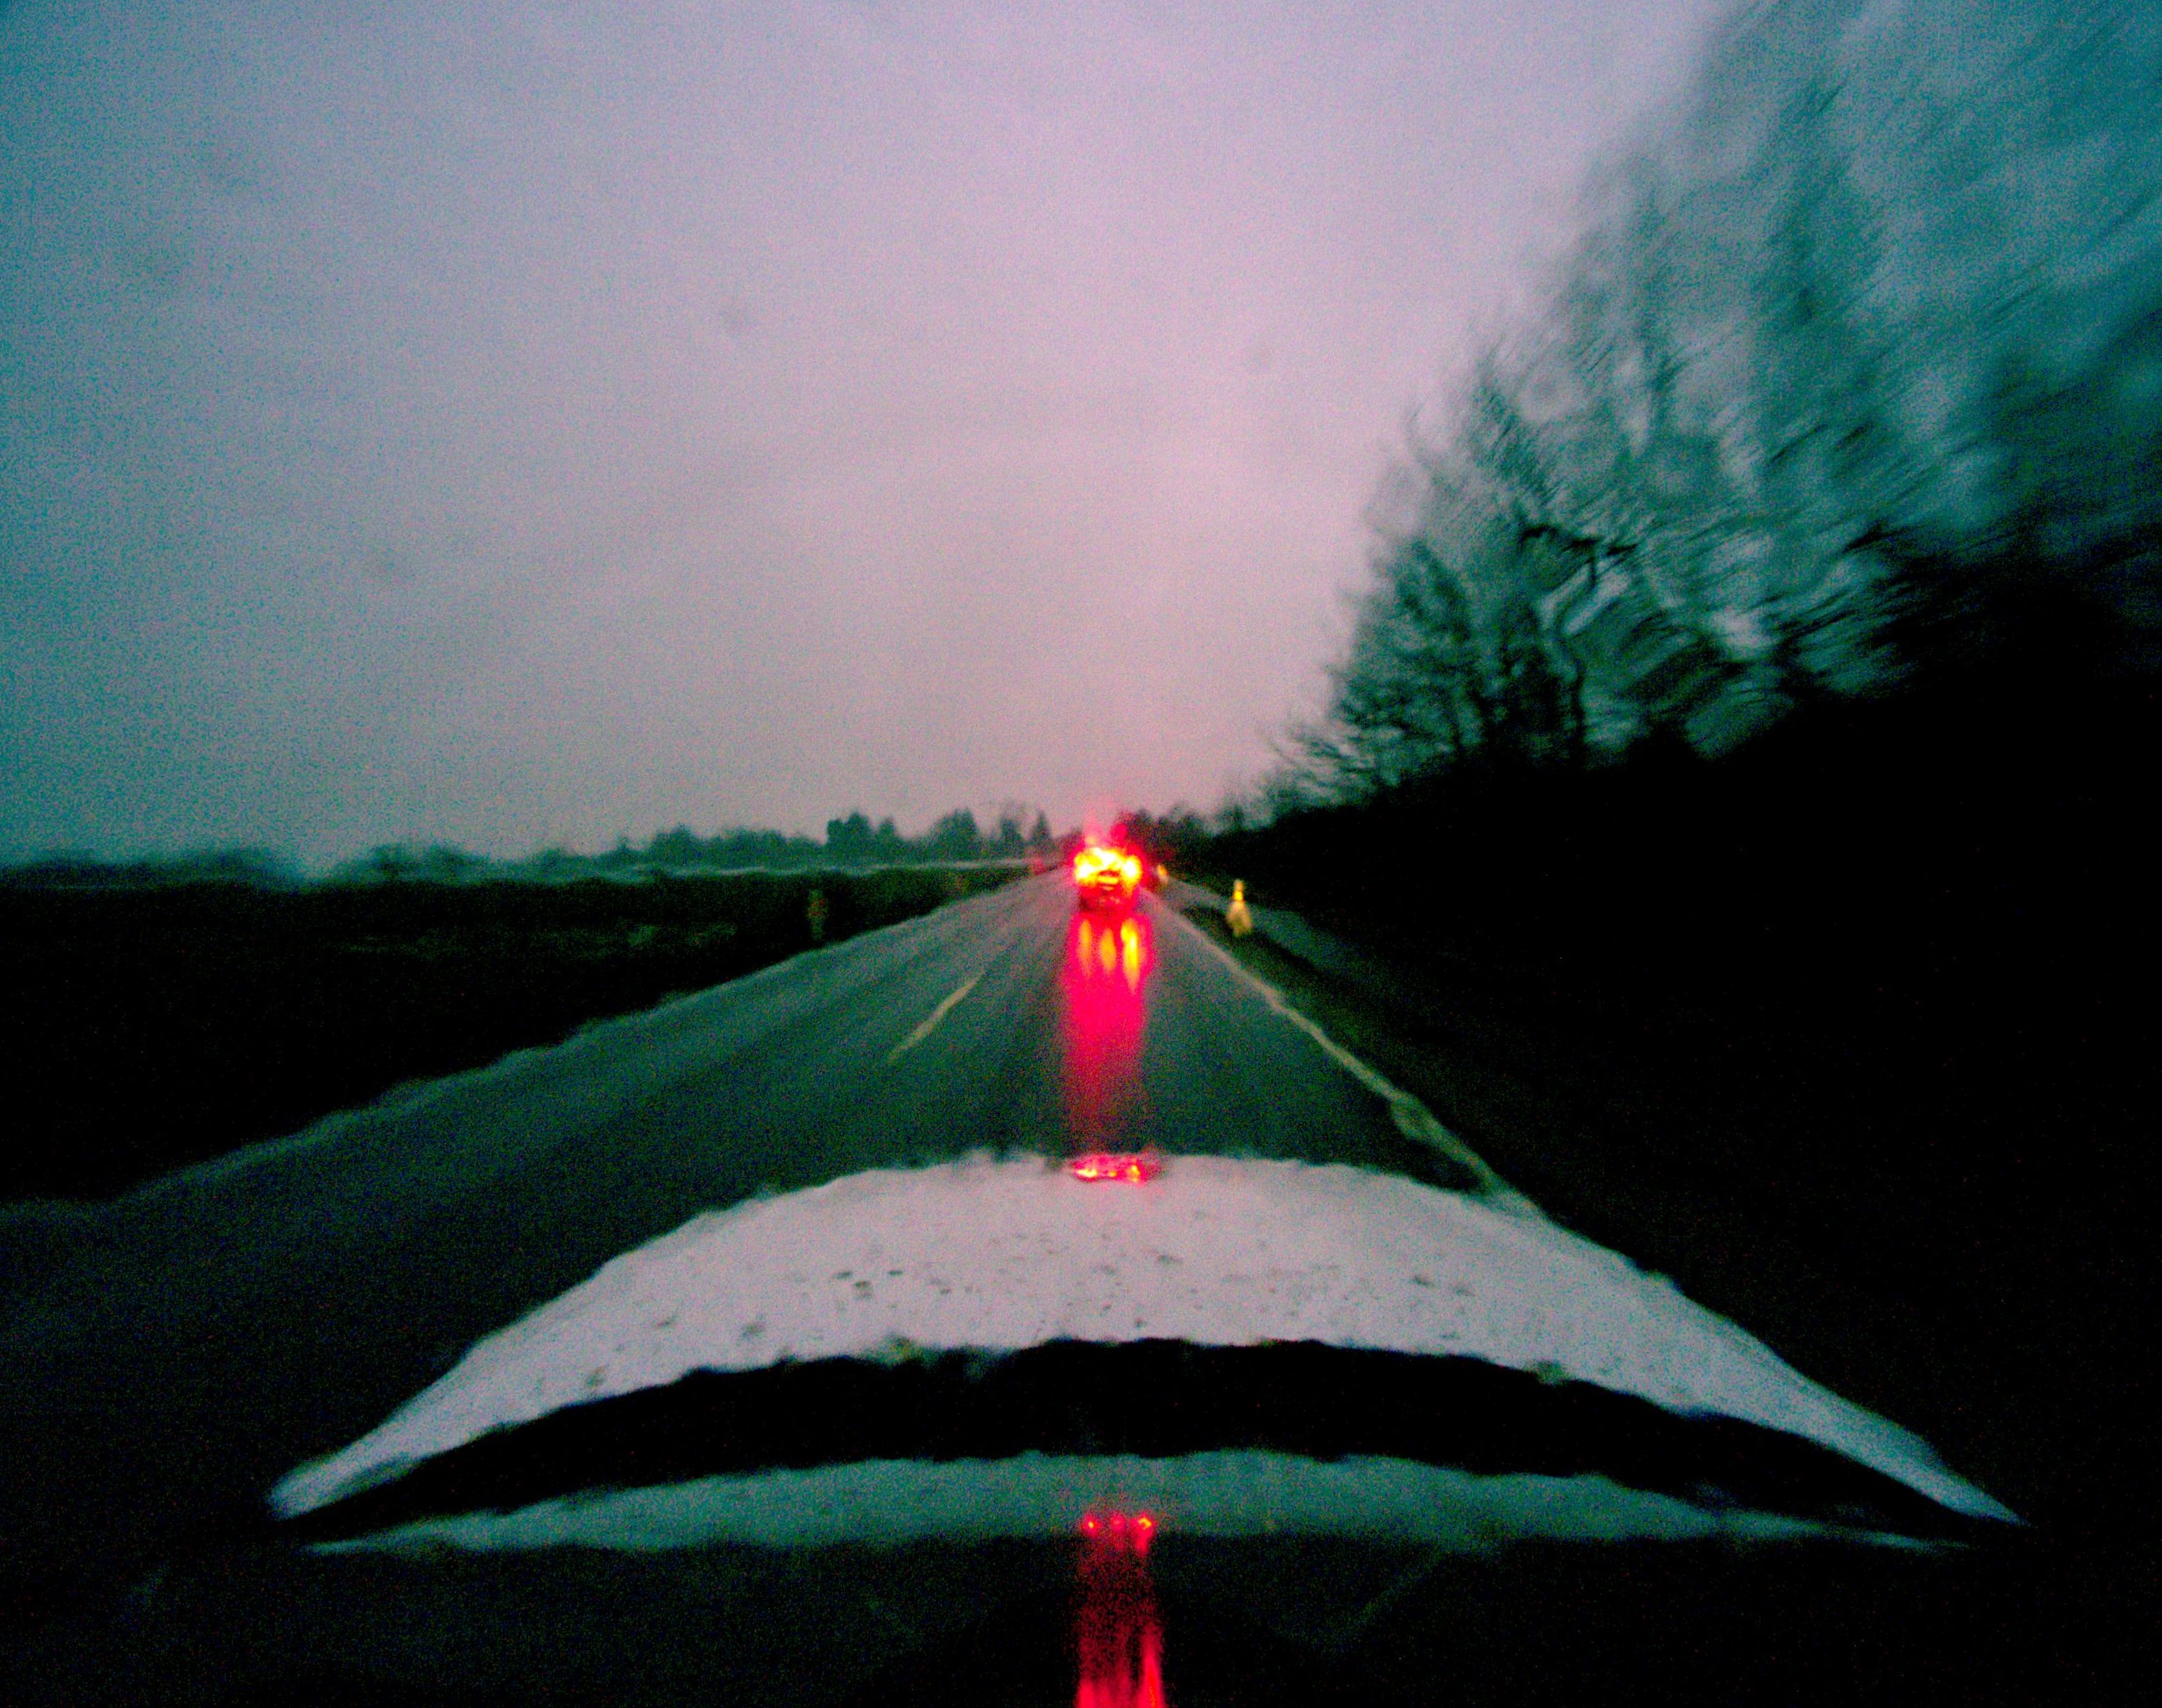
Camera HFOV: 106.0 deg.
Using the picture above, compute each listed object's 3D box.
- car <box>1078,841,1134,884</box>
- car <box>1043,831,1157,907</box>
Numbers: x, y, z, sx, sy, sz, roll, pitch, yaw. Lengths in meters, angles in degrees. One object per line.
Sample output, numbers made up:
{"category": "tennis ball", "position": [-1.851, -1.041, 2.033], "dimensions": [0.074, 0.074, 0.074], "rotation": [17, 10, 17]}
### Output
{"category": "car", "position": [1.381, 0.407, 44.023], "dimensions": [2.745, 2.035, 6.594], "rotation": [-2, 0, 2]}
{"category": "car", "position": [0.669, 0.404, 26.551], "dimensions": [3.152, 2.035, 6.855], "rotation": [-2, 0, 2]}
